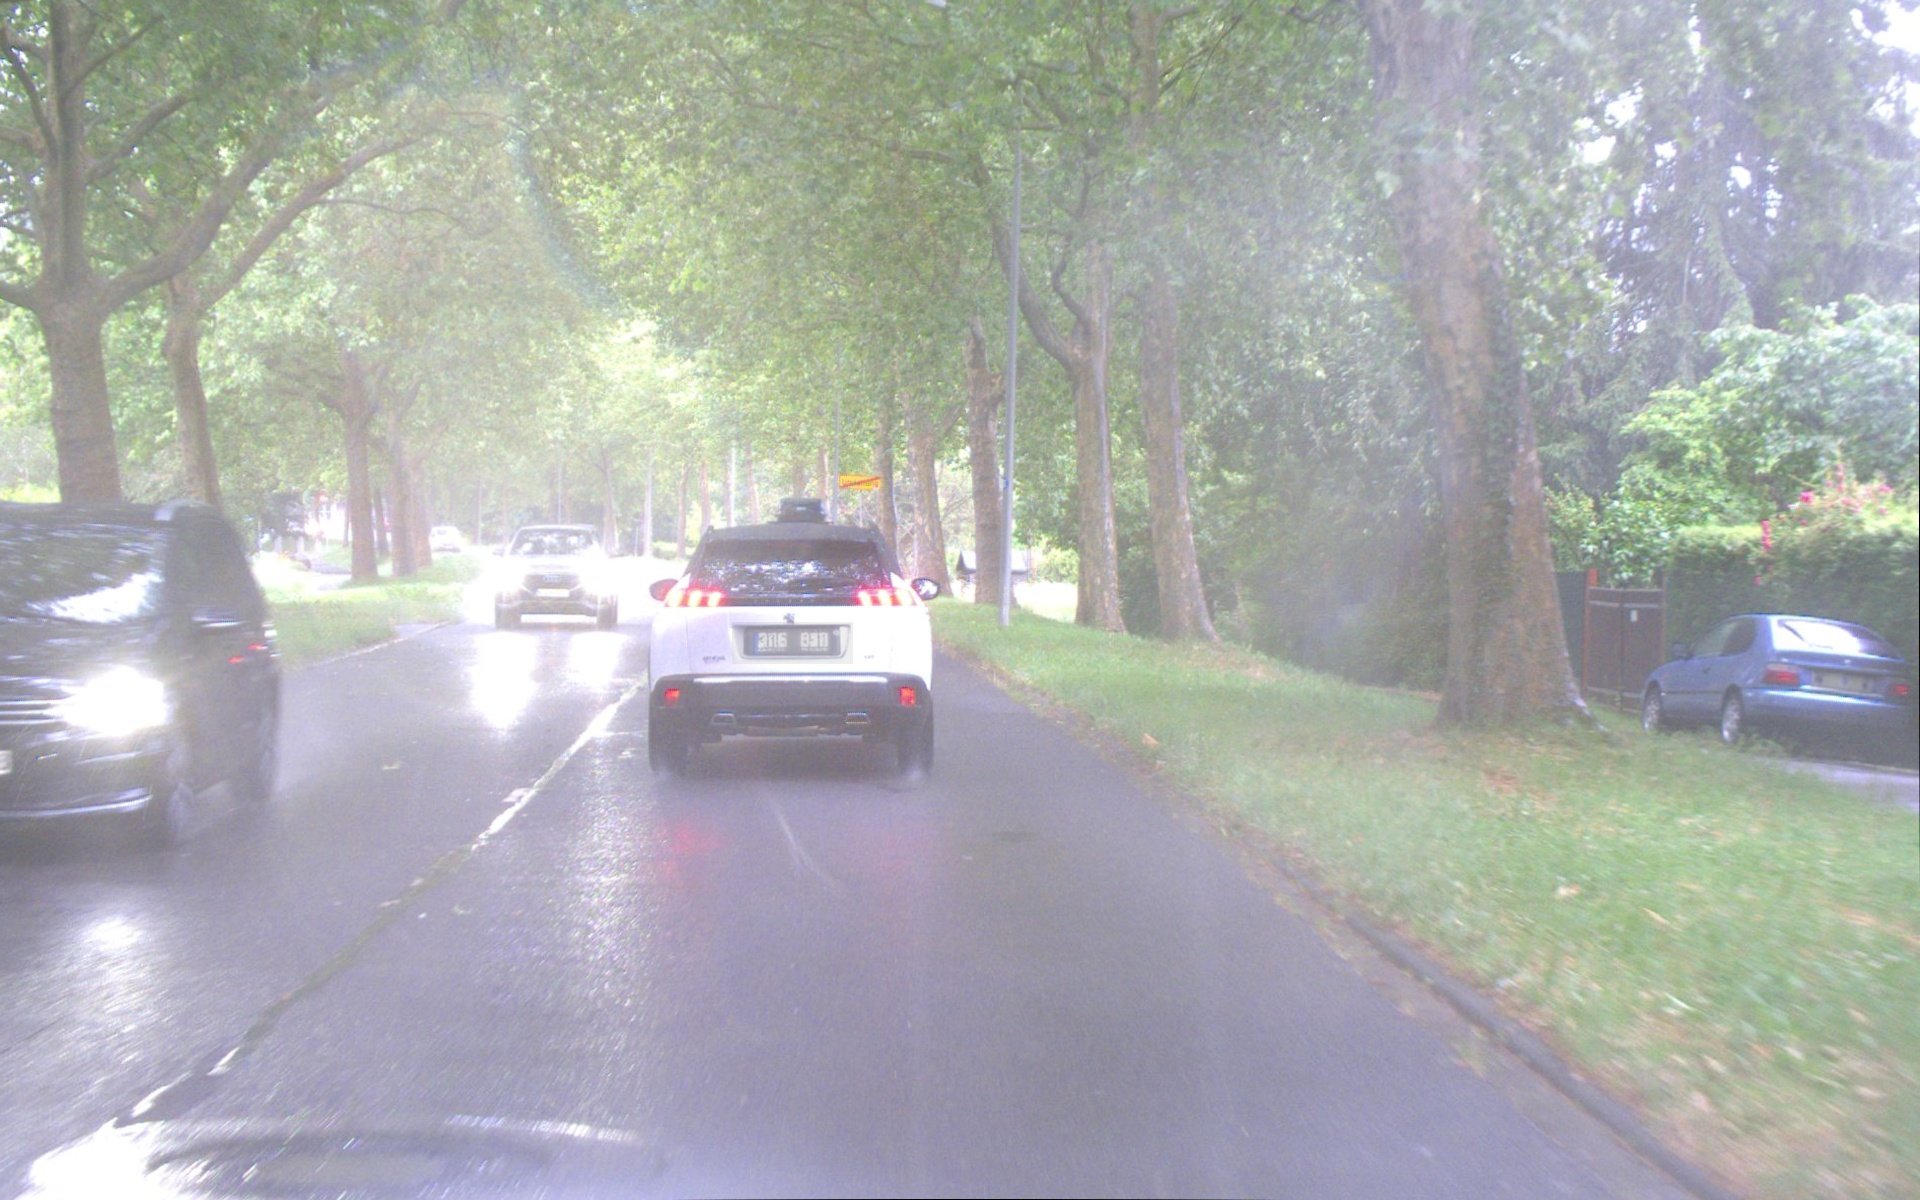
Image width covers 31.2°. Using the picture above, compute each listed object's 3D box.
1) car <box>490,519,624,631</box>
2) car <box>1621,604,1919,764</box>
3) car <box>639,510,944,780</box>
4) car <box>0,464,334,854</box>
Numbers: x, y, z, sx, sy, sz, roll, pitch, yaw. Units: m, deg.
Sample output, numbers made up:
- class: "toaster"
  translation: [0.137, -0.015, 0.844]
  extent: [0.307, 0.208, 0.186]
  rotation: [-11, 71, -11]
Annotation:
- class: "car"
  translation: [-6.506, -0.428, 55.875]
  extent: [1.808, 1.722, 4.455]
  rotation: [1, 1, -3]
- class: "car"
  translation: [8.247, 0.813, 34.878]
  extent: [1.795, 1.321, 4.001]
  rotation: [5, 0, -7]
- class: "car"
  translation: [-1.024, 0.235, 22.533]
  extent: [1.794, 1.573, 3.844]
  rotation: [1, 1, 0]
- class: "car"
  translation: [-4.446, 0.199, 17.033]
  extent: [1.818, 1.649, 4.774]
  rotation: [1, 1, 0]
